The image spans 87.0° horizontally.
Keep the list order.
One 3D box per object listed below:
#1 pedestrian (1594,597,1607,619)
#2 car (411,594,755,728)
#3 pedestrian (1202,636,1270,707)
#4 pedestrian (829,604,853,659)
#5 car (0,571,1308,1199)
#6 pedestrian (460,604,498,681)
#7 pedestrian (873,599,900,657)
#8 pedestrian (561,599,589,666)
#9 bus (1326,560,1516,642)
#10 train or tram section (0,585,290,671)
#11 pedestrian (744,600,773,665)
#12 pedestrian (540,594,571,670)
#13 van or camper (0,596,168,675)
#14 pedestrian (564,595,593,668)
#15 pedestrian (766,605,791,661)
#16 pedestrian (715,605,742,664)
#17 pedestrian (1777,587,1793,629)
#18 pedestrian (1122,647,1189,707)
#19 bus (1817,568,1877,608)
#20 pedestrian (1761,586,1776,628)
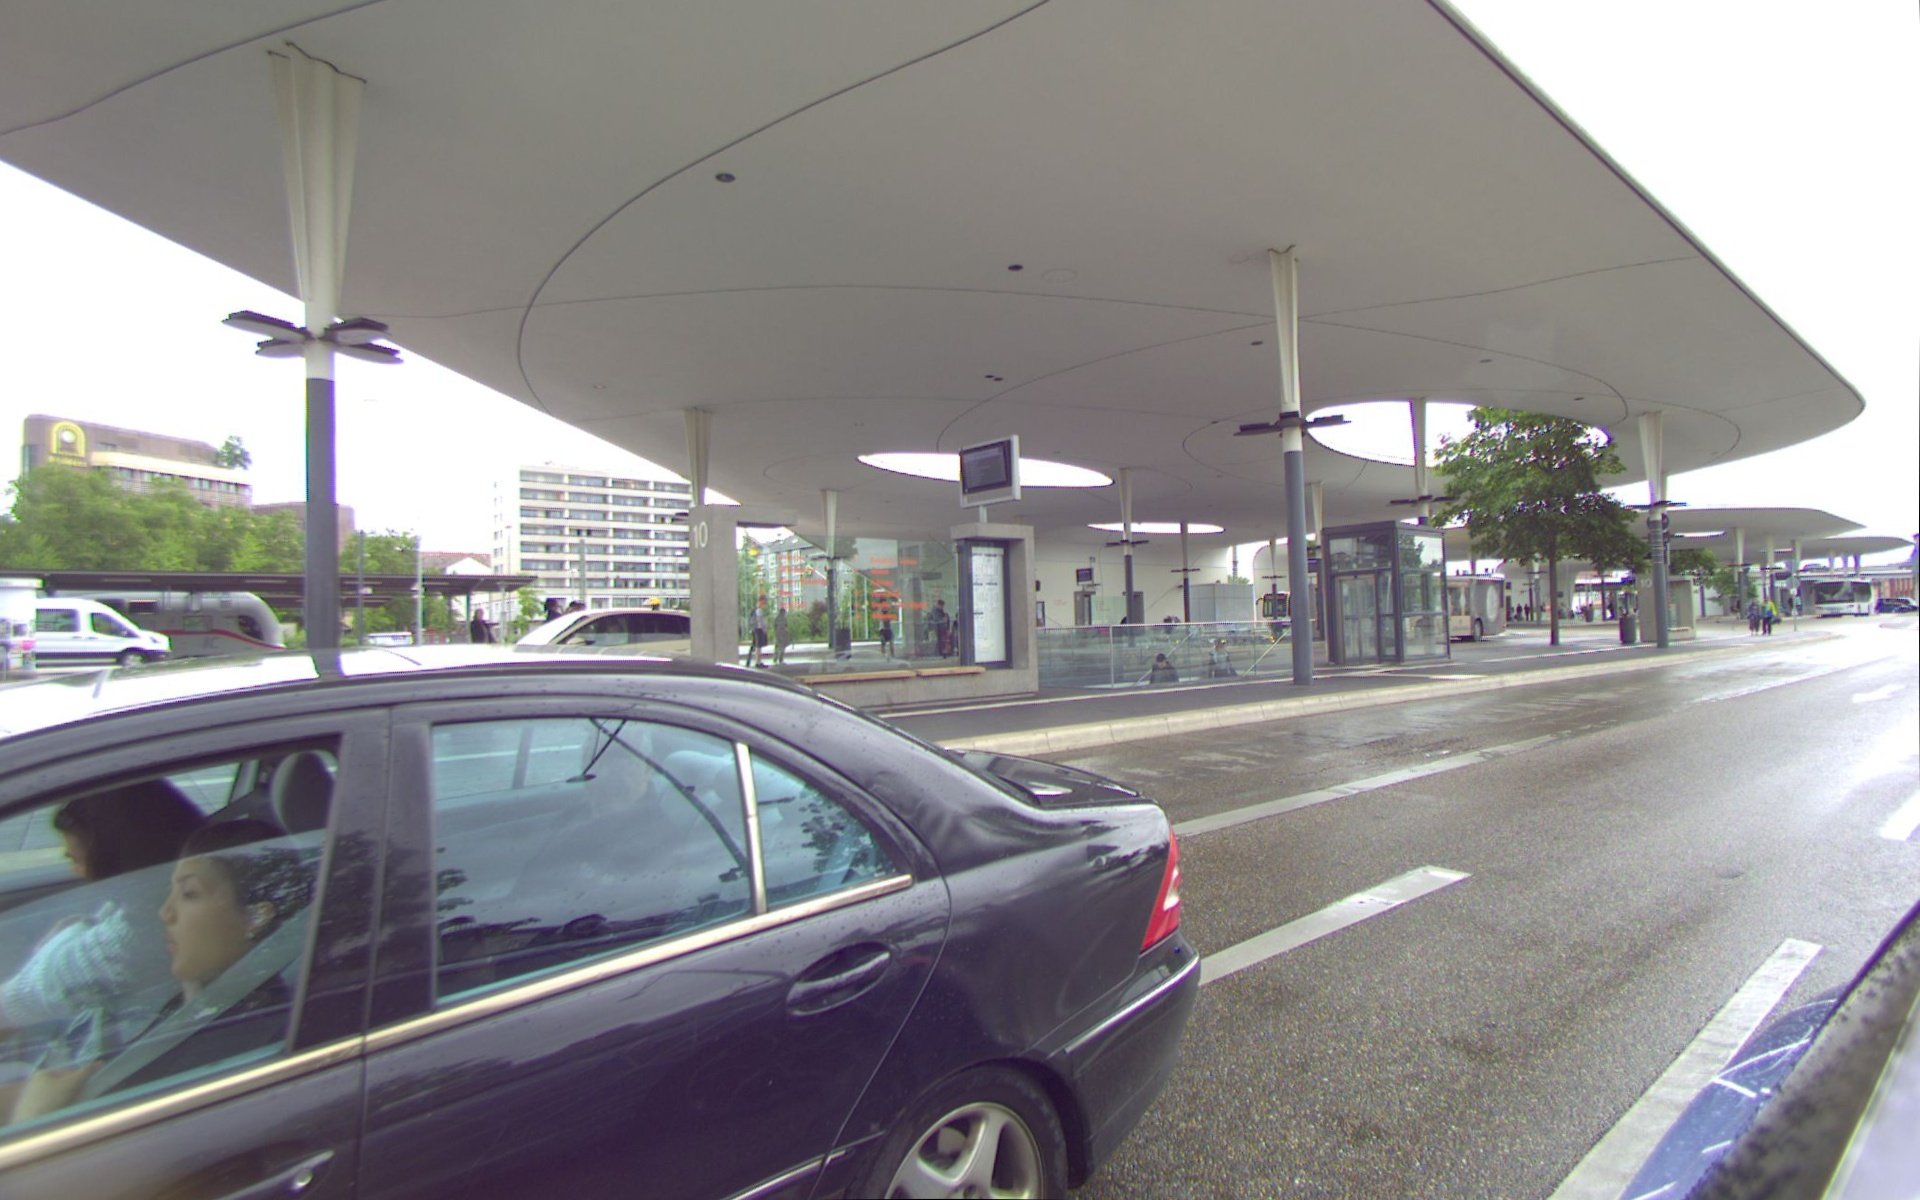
[{"bbox_3d":[60.024,0.766,94.829,1.018,2.039,0.869,0,0,35],"label":"pedestrian"},{"bbox_3d":[-5.566,0.771,15.262,4.462,1.702,1.997,-1,0,-41],"label":"car"},{"bbox_3d":[5.381,1.368,19.749,0.940,1.291,0.882,0,0,-37],"label":"pedestrian"},{"bbox_3d":[-3.405,0.895,28.995,0.515,1.533,0.479,0,-1,-37],"label":"pedestrian"},{"bbox_3d":[-1.285,0.707,1.847,4.374,1.484,1.697,-1,0,-41],"label":"car"},{"bbox_3d":[-10.395,0.910,21.889,0.725,1.615,0.643,0,0,-26],"label":"pedestrian"},{"bbox_3d":[-1.961,0.737,26.953,0.525,1.533,0.479,0,-1,-37],"label":"pedestrian"},{"bbox_3d":[-8.930,0.748,23.481,0.469,1.533,0.535,0,-1,-6],"label":"pedestrian"},{"bbox_3d":[20.159,-0.019,43.671,11.714,3.121,2.874,-1,0,-41],"label":"bus"},{"bbox_3d":[-50.789,1.401,50.357,28.798,4.234,4.598,-1,0,-41],"label":"train or tram section"},{"bbox_3d":[-4.853,0.777,24.371,0.525,1.533,0.479,0,-1,-37],"label":"pedestrian"},{"bbox_3d":[-8.272,0.641,20.698,0.470,1.533,0.535,0,-1,-36],"label":"pedestrian"},{"bbox_3d":[-29.719,1.108,33.240,5.762,2.464,1.997,-1,0,-41],"label":"van or camper"},{"bbox_3d":[-8.163,0.665,21.643,0.470,1.533,0.535,0,-1,-36],"label":"pedestrian"},{"bbox_3d":[-5.088,0.923,28.327,0.515,1.533,0.479,0,-1,-37],"label":"pedestrian"},{"bbox_3d":[-6.218,0.914,27.123,0.556,1.533,0.479,0,-1,-37],"label":"pedestrian"},{"bbox_3d":[35.272,0.356,43.267,0.444,1.786,0.529,-2,-1,43],"label":"pedestrian"},{"bbox_3d":[3.825,1.483,19.781,0.940,1.068,0.882,0,0,-37],"label":"pedestrian"},{"bbox_3d":[75.579,-0.965,86.387,3.568,3.138,10.597,-1,-1,40],"label":"bus"},{"bbox_3d":[34.839,0.315,43.623,0.444,1.786,0.529,-2,-1,43],"label":"pedestrian"}]
